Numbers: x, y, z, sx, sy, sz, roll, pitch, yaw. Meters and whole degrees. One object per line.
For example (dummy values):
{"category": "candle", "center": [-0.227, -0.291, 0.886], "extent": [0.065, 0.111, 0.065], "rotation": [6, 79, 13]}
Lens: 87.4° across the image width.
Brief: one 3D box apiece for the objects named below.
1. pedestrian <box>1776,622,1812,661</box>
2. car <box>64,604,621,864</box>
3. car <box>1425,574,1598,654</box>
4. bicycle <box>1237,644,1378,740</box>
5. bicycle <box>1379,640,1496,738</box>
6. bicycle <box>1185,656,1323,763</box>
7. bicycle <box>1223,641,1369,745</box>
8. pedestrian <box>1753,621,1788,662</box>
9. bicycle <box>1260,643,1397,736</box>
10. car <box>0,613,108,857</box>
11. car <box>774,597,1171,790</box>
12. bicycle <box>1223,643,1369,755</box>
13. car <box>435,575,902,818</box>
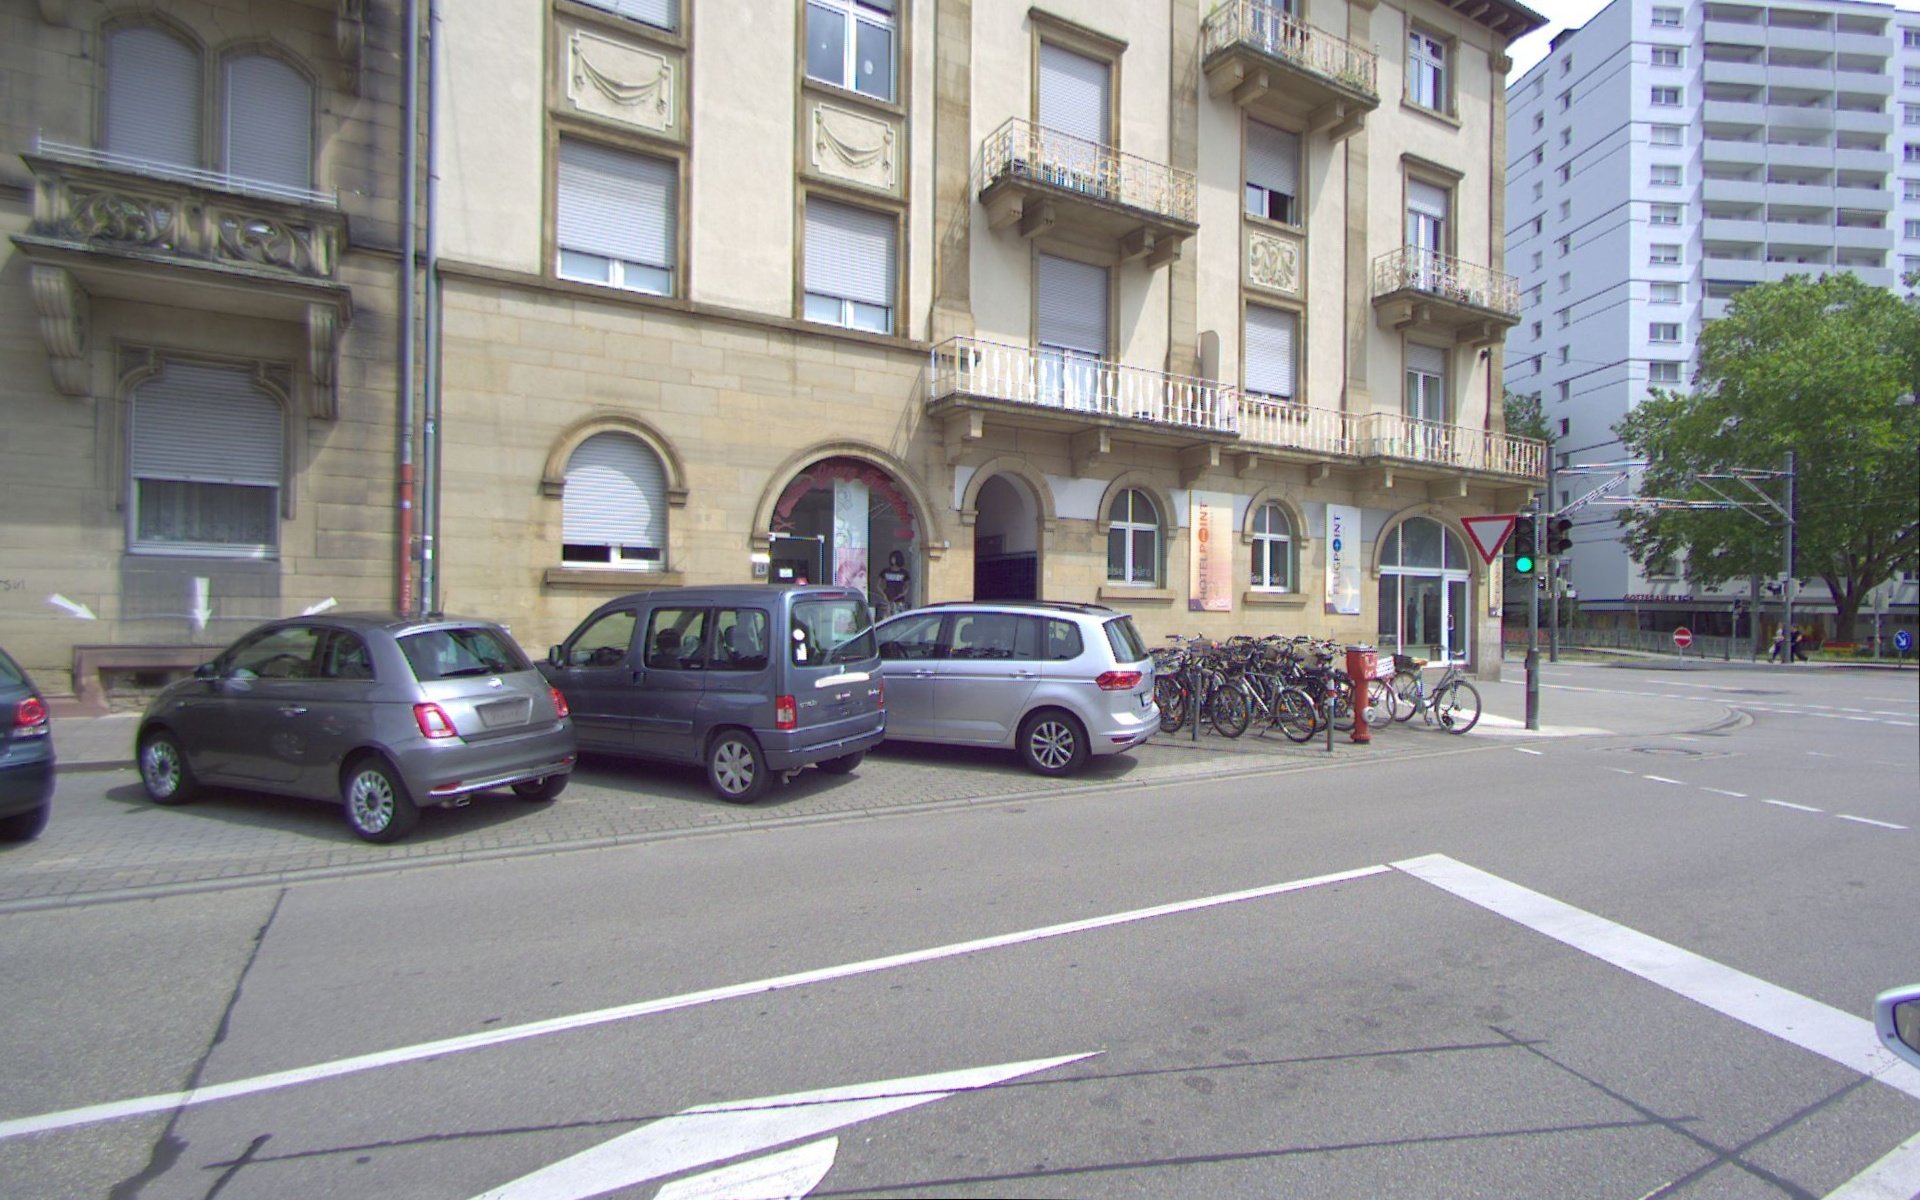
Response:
{"category": "pedestrian", "center": [33.291, 1.663, 40.104], "extent": [0.709, 1.534, 0.933], "rotation": [0, -1, 10]}
{"category": "car", "center": [-4.919, 0.886, 8.057], "extent": [3.934, 1.673, 1.796], "rotation": [0, -1, 22]}
{"category": "car", "center": [29.854, 0.792, 55.117], "extent": [3.389, 3.967, 9.911], "rotation": [0, -1, -5]}
{"category": "bicycle", "center": [4.771, 1.236, 13.911], "extent": [0.589, 1.135, 1.796], "rotation": [1, 1, -37]}
{"category": "bicycle", "center": [6.681, 1.214, 14.165], "extent": [0.489, 1.182, 1.878], "rotation": [2, 1, -9]}
{"category": "bicycle", "center": [3.494, 1.266, 12.097], "extent": [0.586, 1.135, 1.805], "rotation": [1, -1, -23]}
{"category": "bicycle", "center": [4.411, 1.190, 13.315], "extent": [0.589, 1.182, 1.796], "rotation": [1, 1, -37]}
{"category": "pedestrian", "center": [31.840, 1.613, 39.470], "extent": [0.709, 1.593, 0.809], "rotation": [0, -1, -3]}
{"category": "bicycle", "center": [5.263, 1.245, 14.444], "extent": [0.589, 1.135, 1.796], "rotation": [1, 1, -37]}
{"category": "car", "center": [-7.669, 0.807, 6.498], "extent": [3.829, 1.463, 1.836], "rotation": [0, -1, 25]}
{"category": "car", "center": [0.163, 0.890, 10.920], "extent": [3.934, 1.797, 1.796], "rotation": [0, -1, 22]}
{"category": "bicycle", "center": [4.089, 1.172, 12.393], "extent": [0.586, 1.135, 1.803], "rotation": [1, 2, -25]}
{"category": "car", "center": [-2.710, 0.774, 9.439], "extent": [3.934, 1.903, 1.796], "rotation": [0, -1, 22]}
